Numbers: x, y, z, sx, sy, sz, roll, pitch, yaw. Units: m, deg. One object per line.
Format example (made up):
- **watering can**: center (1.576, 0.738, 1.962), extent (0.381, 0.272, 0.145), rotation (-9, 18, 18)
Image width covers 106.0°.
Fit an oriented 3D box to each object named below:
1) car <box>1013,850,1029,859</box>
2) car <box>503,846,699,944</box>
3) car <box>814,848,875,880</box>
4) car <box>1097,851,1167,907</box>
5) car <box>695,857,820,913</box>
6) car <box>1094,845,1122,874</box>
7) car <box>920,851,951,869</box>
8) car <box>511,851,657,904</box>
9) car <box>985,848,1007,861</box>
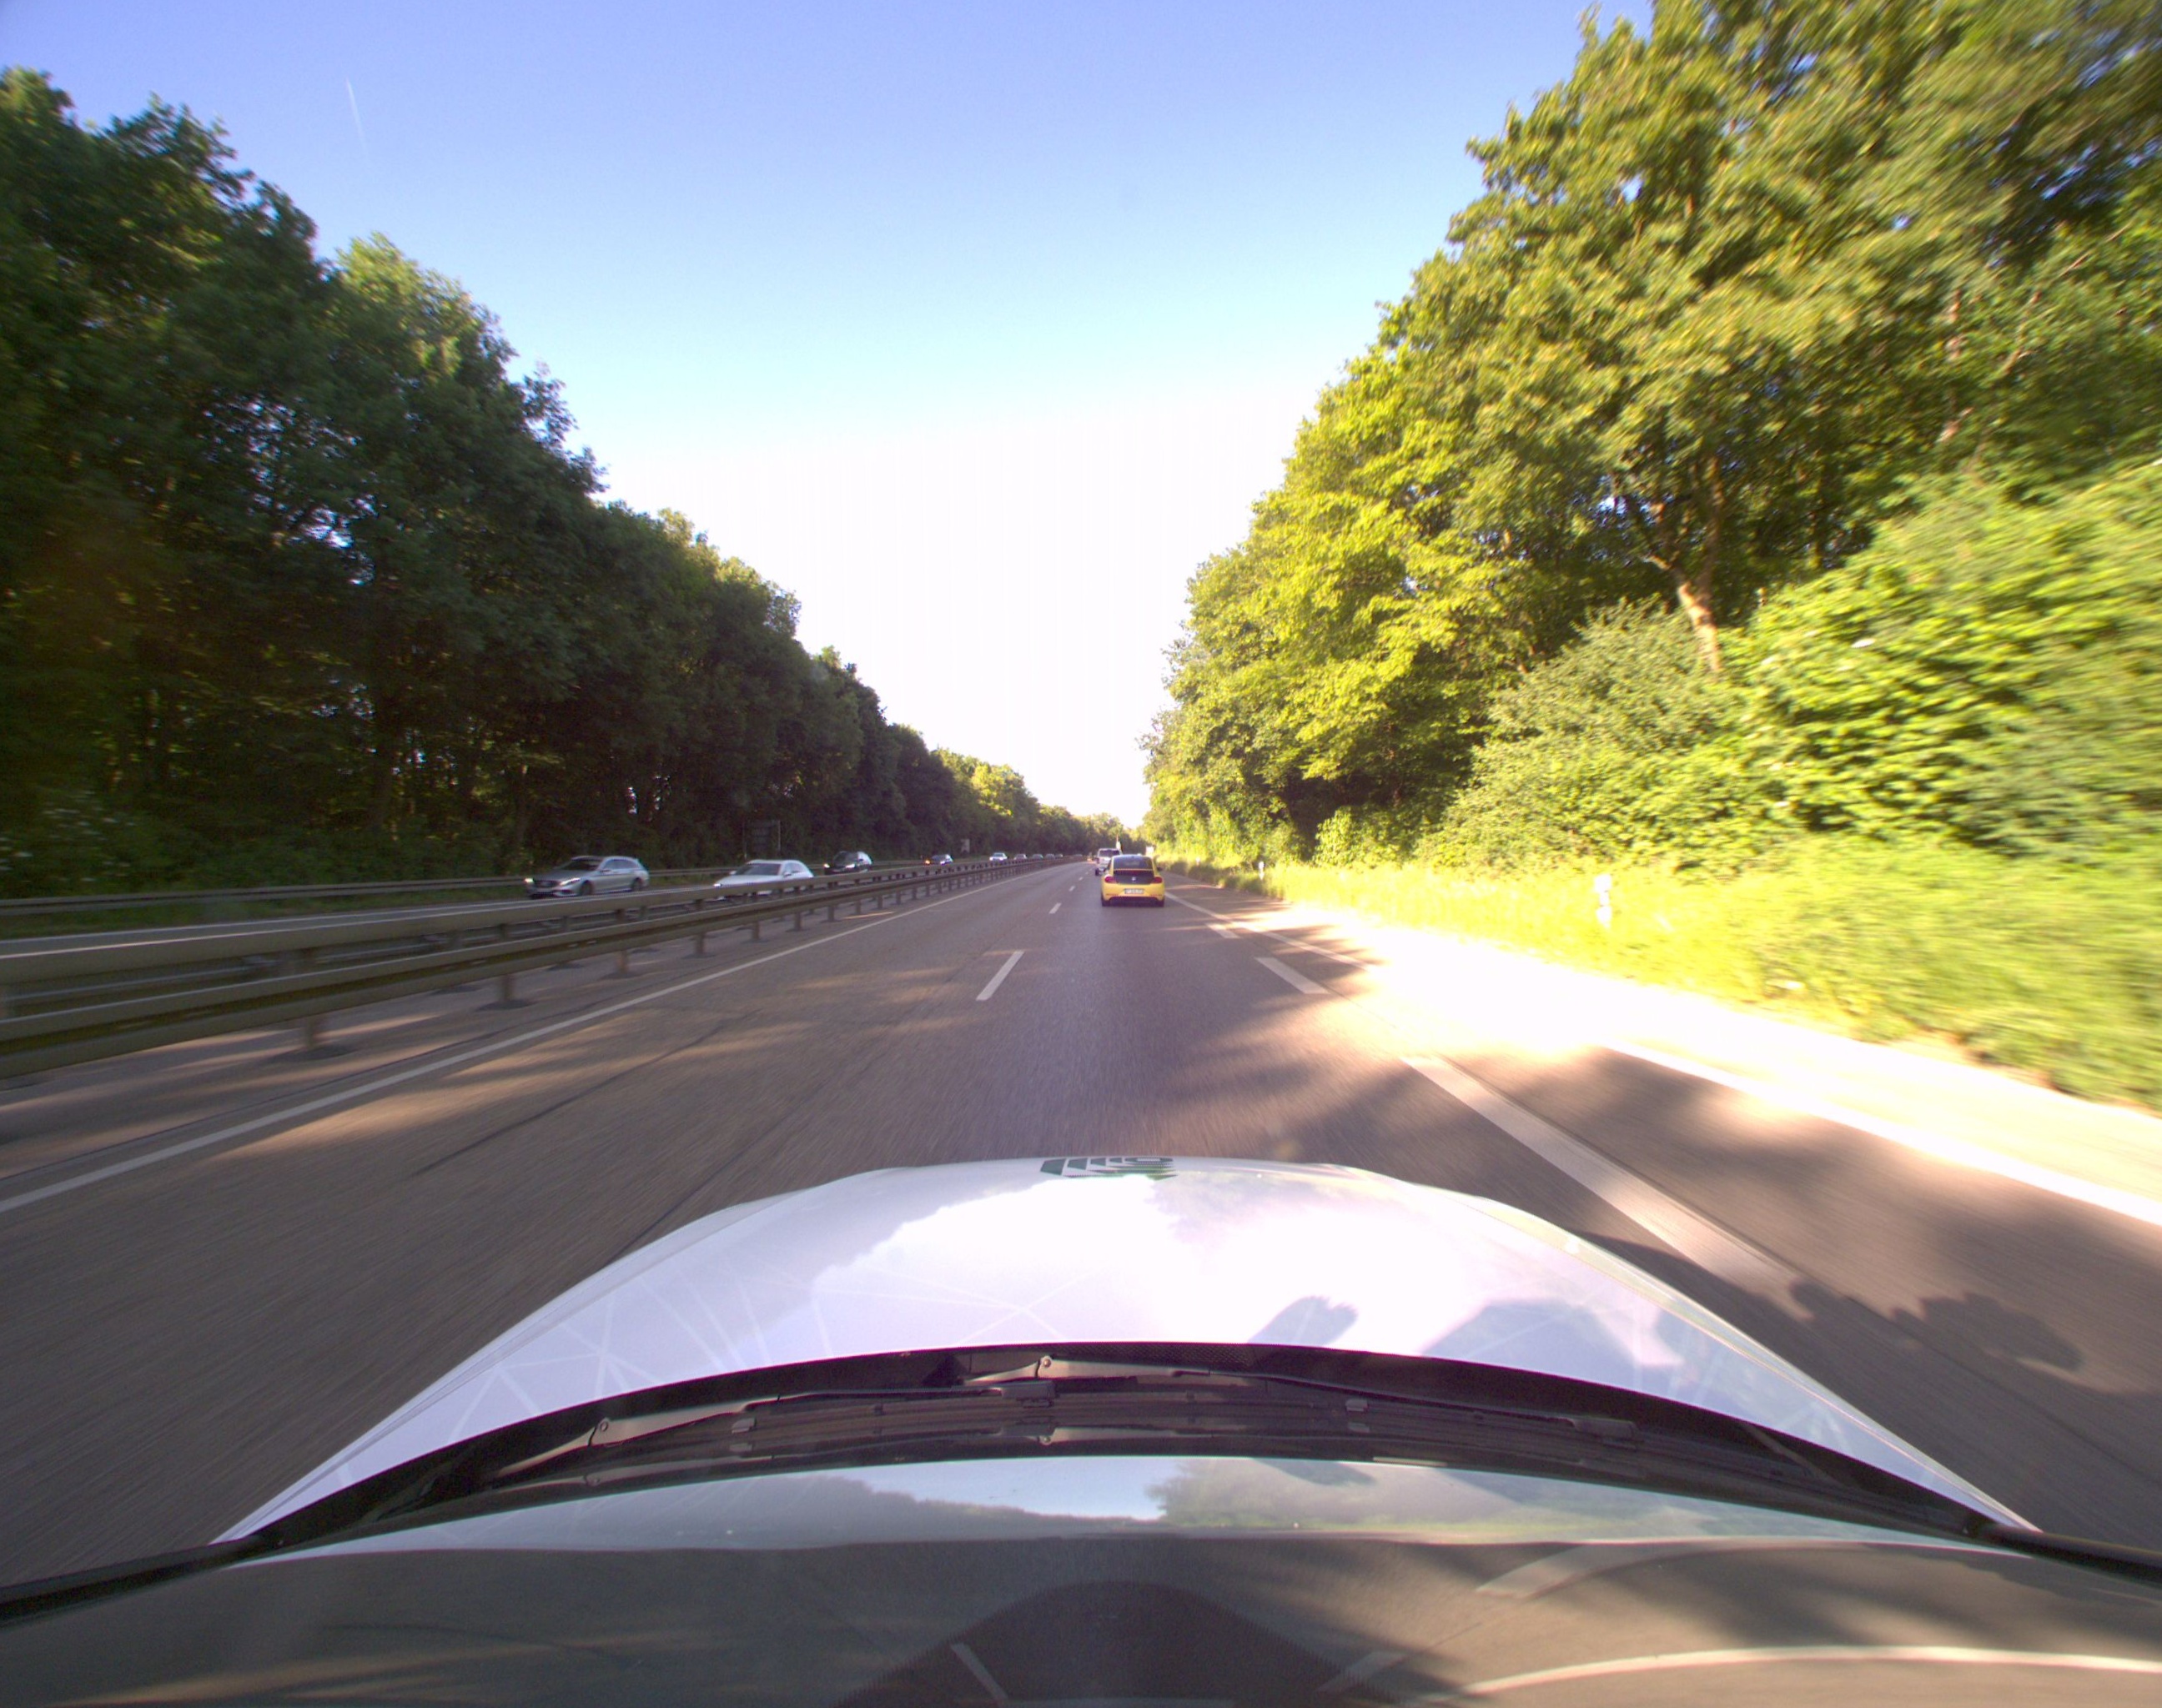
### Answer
- **car**: center (-9.568, 0.083, 130.105), extent (1.985, 1.464, 4.004), rotation (-2, 0, 3)
- **car**: center (-10.315, 0.802, 17.892), extent (1.781, 1.860, 4.001), rotation (-2, 0, 2)
- **car**: center (-14.058, 0.573, 48.738), extent (1.986, 1.699, 4.910), rotation (-2, 0, 2)
- **car**: center (1.564, 0.691, 24.222), extent (1.930, 1.508, 3.427), rotation (1, 0, 5)
- **car**: center (-10.295, 0.920, 26.386), extent (1.986, 1.560, 4.709), rotation (-2, 0, 2)
- **car**: center (1.758, 0.327, 53.591), extent (1.735, 1.830, 3.423), rotation (-1, 0, 1)
- **car**: center (-13.515, 0.553, 75.605), extent (1.986, 1.486, 4.001), rotation (-2, 0, 2)
- **car**: center (-16.998, 0.746, 28.186), extent (1.986, 1.600, 4.709), rotation (-2, 0, 2)
- **car**: center (-11.358, 0.107, 108.928), extent (1.984, 1.623, 4.796), rotation (-2, 0, 5)
